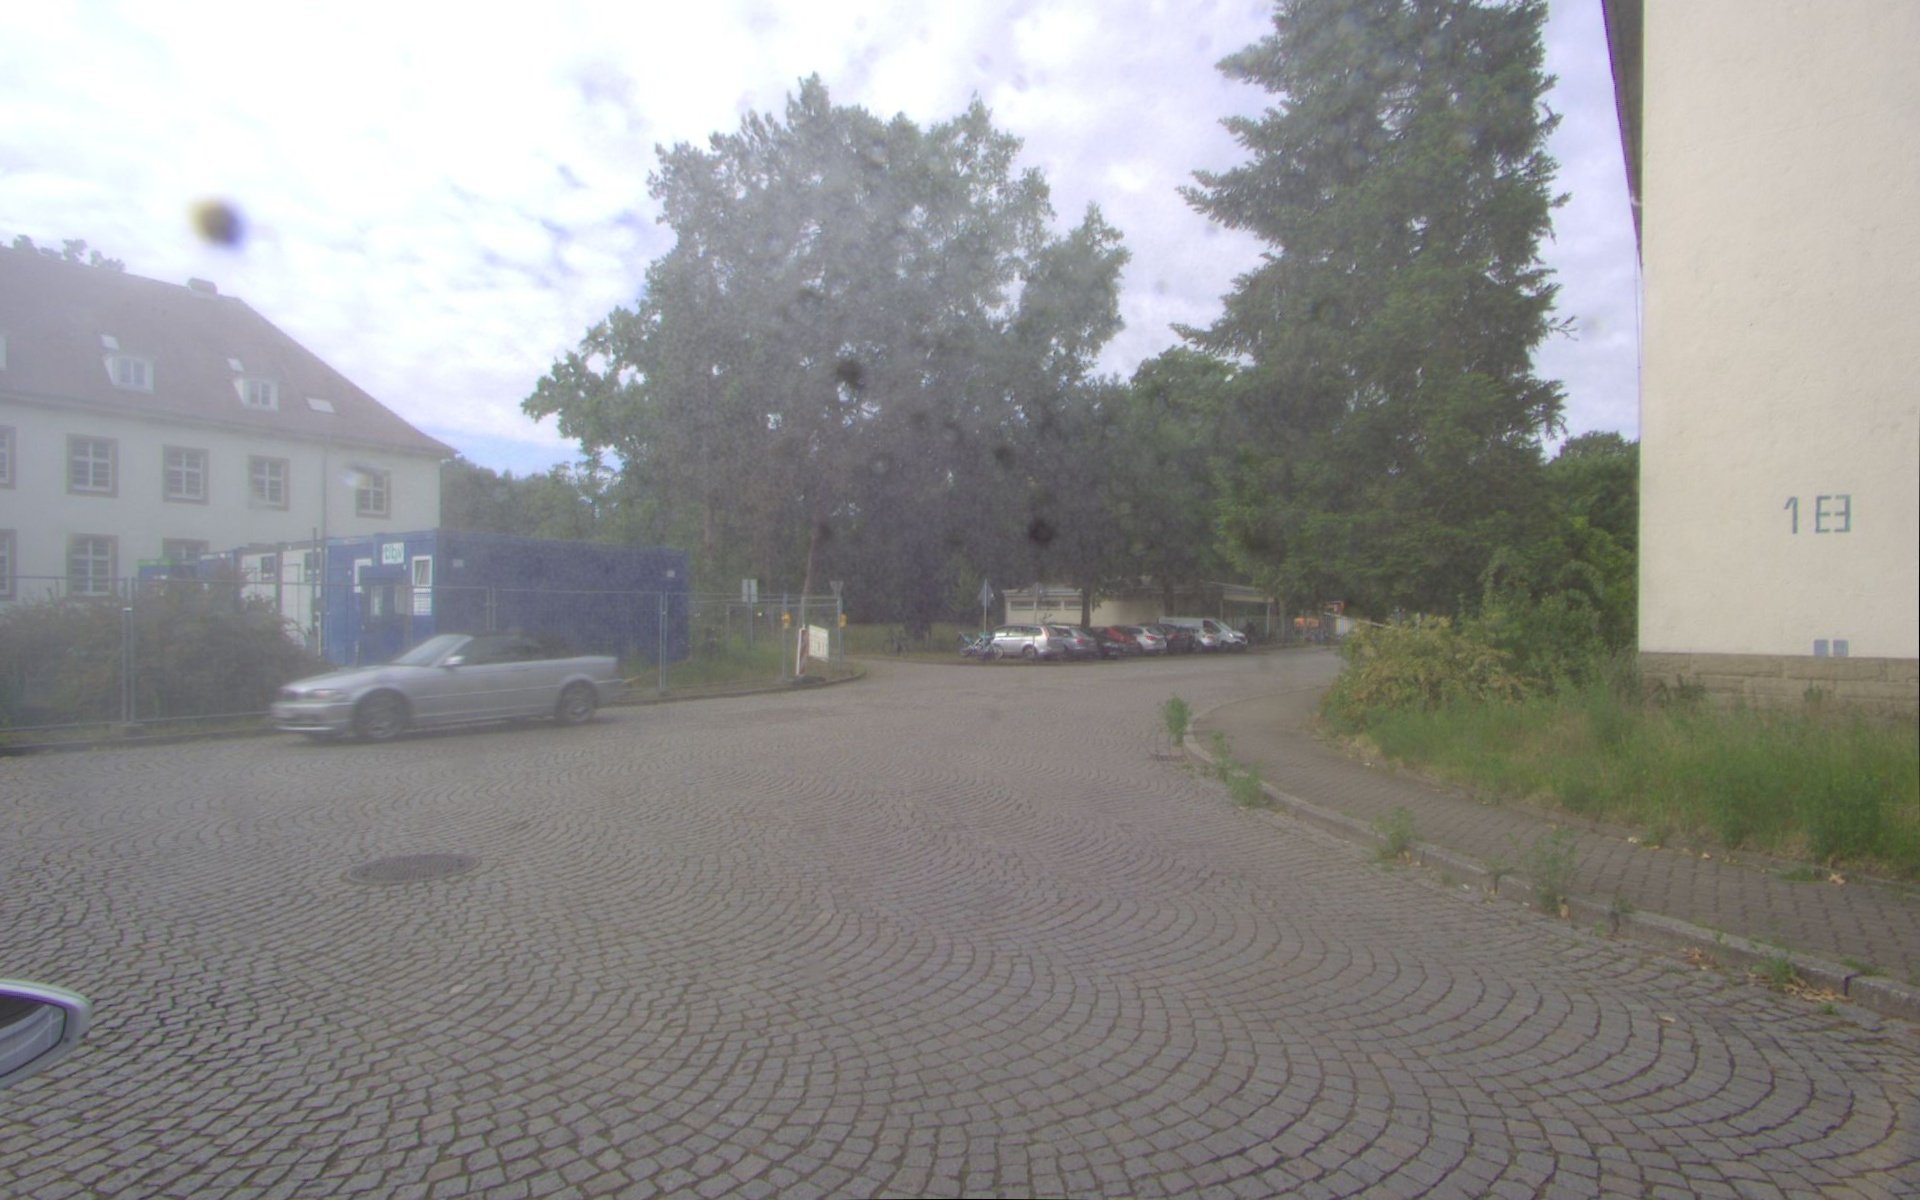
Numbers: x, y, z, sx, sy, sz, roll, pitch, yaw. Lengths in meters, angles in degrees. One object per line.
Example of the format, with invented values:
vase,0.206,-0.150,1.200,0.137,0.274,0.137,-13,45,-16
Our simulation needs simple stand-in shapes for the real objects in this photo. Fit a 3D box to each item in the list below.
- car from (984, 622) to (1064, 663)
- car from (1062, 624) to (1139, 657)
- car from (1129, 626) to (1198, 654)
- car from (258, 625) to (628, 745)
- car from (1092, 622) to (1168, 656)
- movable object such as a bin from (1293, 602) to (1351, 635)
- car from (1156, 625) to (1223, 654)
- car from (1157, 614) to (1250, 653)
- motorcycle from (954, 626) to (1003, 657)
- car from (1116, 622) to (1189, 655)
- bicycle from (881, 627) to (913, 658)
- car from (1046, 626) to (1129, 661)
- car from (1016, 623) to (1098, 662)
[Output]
car,2.633,1.706,41.118,2.978,1.508,1.318,2,0,28
car,6.702,1.899,47.823,3.320,1.379,1.439,2,0,36
car,10.908,2.138,53.776,3.317,1.336,1.467,2,0,32
car,-6.802,1.044,13.643,1.585,1.363,4.270,-2,-2,34
car,8.349,1.887,49.144,3.314,1.462,1.559,2,0,29
movable object such as a bin,36.691,1.871,101.599,5.214,3.315,2.000,0,-1,5
car,12.745,2.169,55.663,3.317,1.425,1.558,2,0,32
car,14.067,1.914,57.961,4.892,2.017,1.687,2,0,37
motorcycle,0.716,1.641,39.561,1.936,1.180,0.516,0,0,31
car,9.897,1.969,51.621,3.317,1.533,1.558,2,0,32
bicycle,-2.423,1.617,38.412,0.507,1.182,1.795,0,-1,-30
car,5.732,1.936,45.151,3.313,1.338,1.635,2,0,28
car,4.153,1.796,42.858,3.171,1.467,1.384,2,0,28
